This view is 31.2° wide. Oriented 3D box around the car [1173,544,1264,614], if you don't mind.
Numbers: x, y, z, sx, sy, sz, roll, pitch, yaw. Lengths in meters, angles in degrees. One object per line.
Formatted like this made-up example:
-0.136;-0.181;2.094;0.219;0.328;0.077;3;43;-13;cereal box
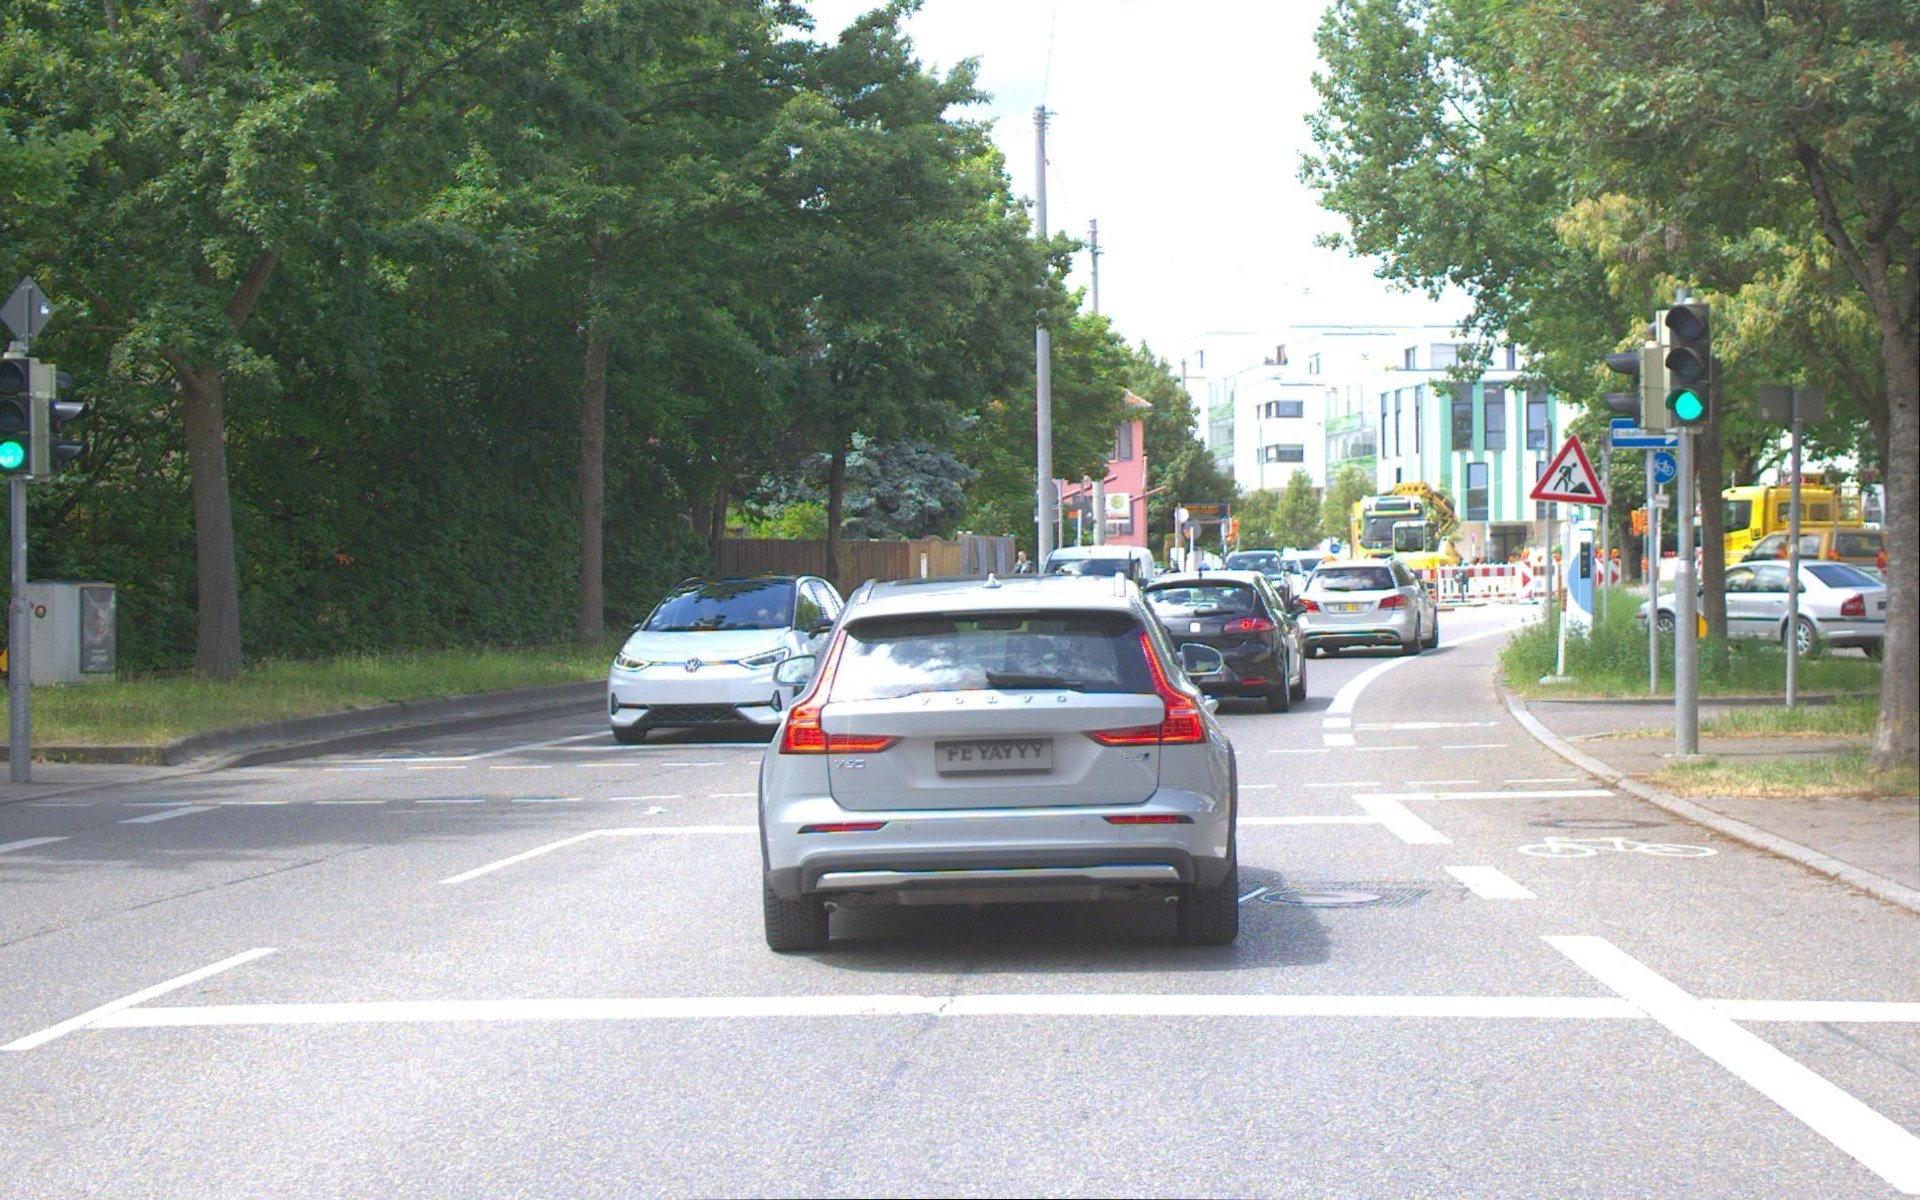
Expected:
6.650;-0.544;88.180;1.881;1.681;4.245;-2;0;10;car

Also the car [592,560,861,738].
-2.165;0.452;32.954;1.899;1.574;3.999;-1;0;6;car

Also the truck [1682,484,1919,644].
17.626;-0.676;67.189;2.761;2.998;6.706;2;0;-35;truck

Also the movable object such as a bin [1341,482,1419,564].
15.736;-2.874;129.125;2.310;2.980;6.426;-1;1;2;movable object such as a bin

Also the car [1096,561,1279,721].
2.311;0.409;35.730;1.661;1.503;3.702;2;0;1;car

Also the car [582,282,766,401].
-4.190;-3.801;50.973;1.829;1.325;3.998;2;-1;8;car

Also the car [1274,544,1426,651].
6.052;-0.026;52.994;2.103;1.505;3.998;2;0;9;car

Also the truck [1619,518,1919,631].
15.388;-0.511;65.550;1.994;2.007;5.677;2;0;-35;truck

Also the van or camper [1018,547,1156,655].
2.199;-0.012;58.413;1.861;1.770;4.379;0;1;8;van or camper

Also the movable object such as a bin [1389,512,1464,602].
14.355;-1.328;105.639;2.035;2.634;5.937;-1;1;10;movable object such as a bin

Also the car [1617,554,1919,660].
12.018;0.071;50.805;1.762;1.447;4.689;0;1;-33;car

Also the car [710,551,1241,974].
0.162;0.589;14.522;1.928;1.535;4.000;0;0;3;car
